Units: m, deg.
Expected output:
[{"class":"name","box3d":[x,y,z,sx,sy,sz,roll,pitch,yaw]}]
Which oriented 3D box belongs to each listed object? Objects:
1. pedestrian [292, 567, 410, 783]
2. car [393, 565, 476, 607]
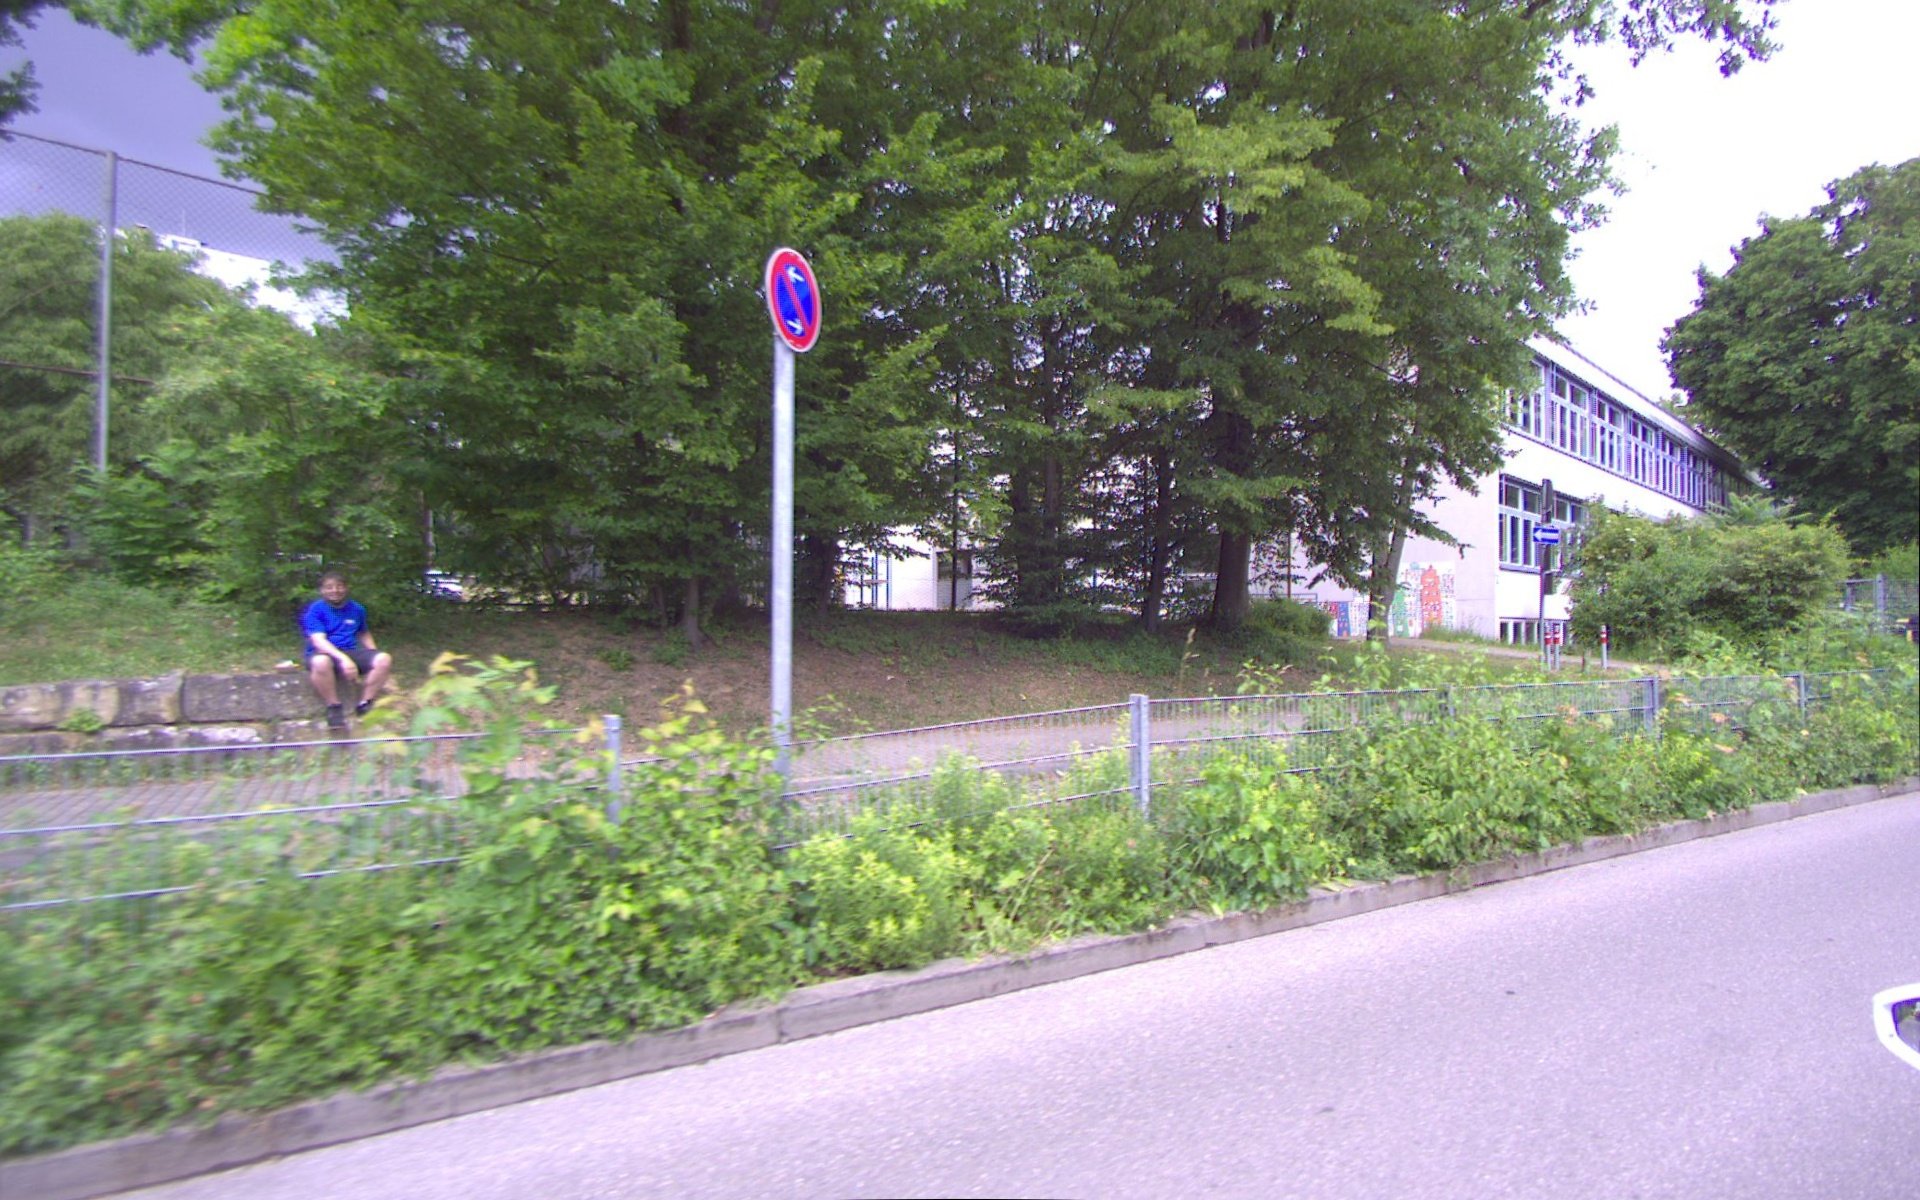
[{"class":"pedestrian","box3d":[-5.063,0.594,8.365,0.800,1.684,0.755,1,-1,-32]},{"class":"car","box3d":[-23.782,-0.598,45.384,4.385,1.717,1.964,-1,-2,42]}]
